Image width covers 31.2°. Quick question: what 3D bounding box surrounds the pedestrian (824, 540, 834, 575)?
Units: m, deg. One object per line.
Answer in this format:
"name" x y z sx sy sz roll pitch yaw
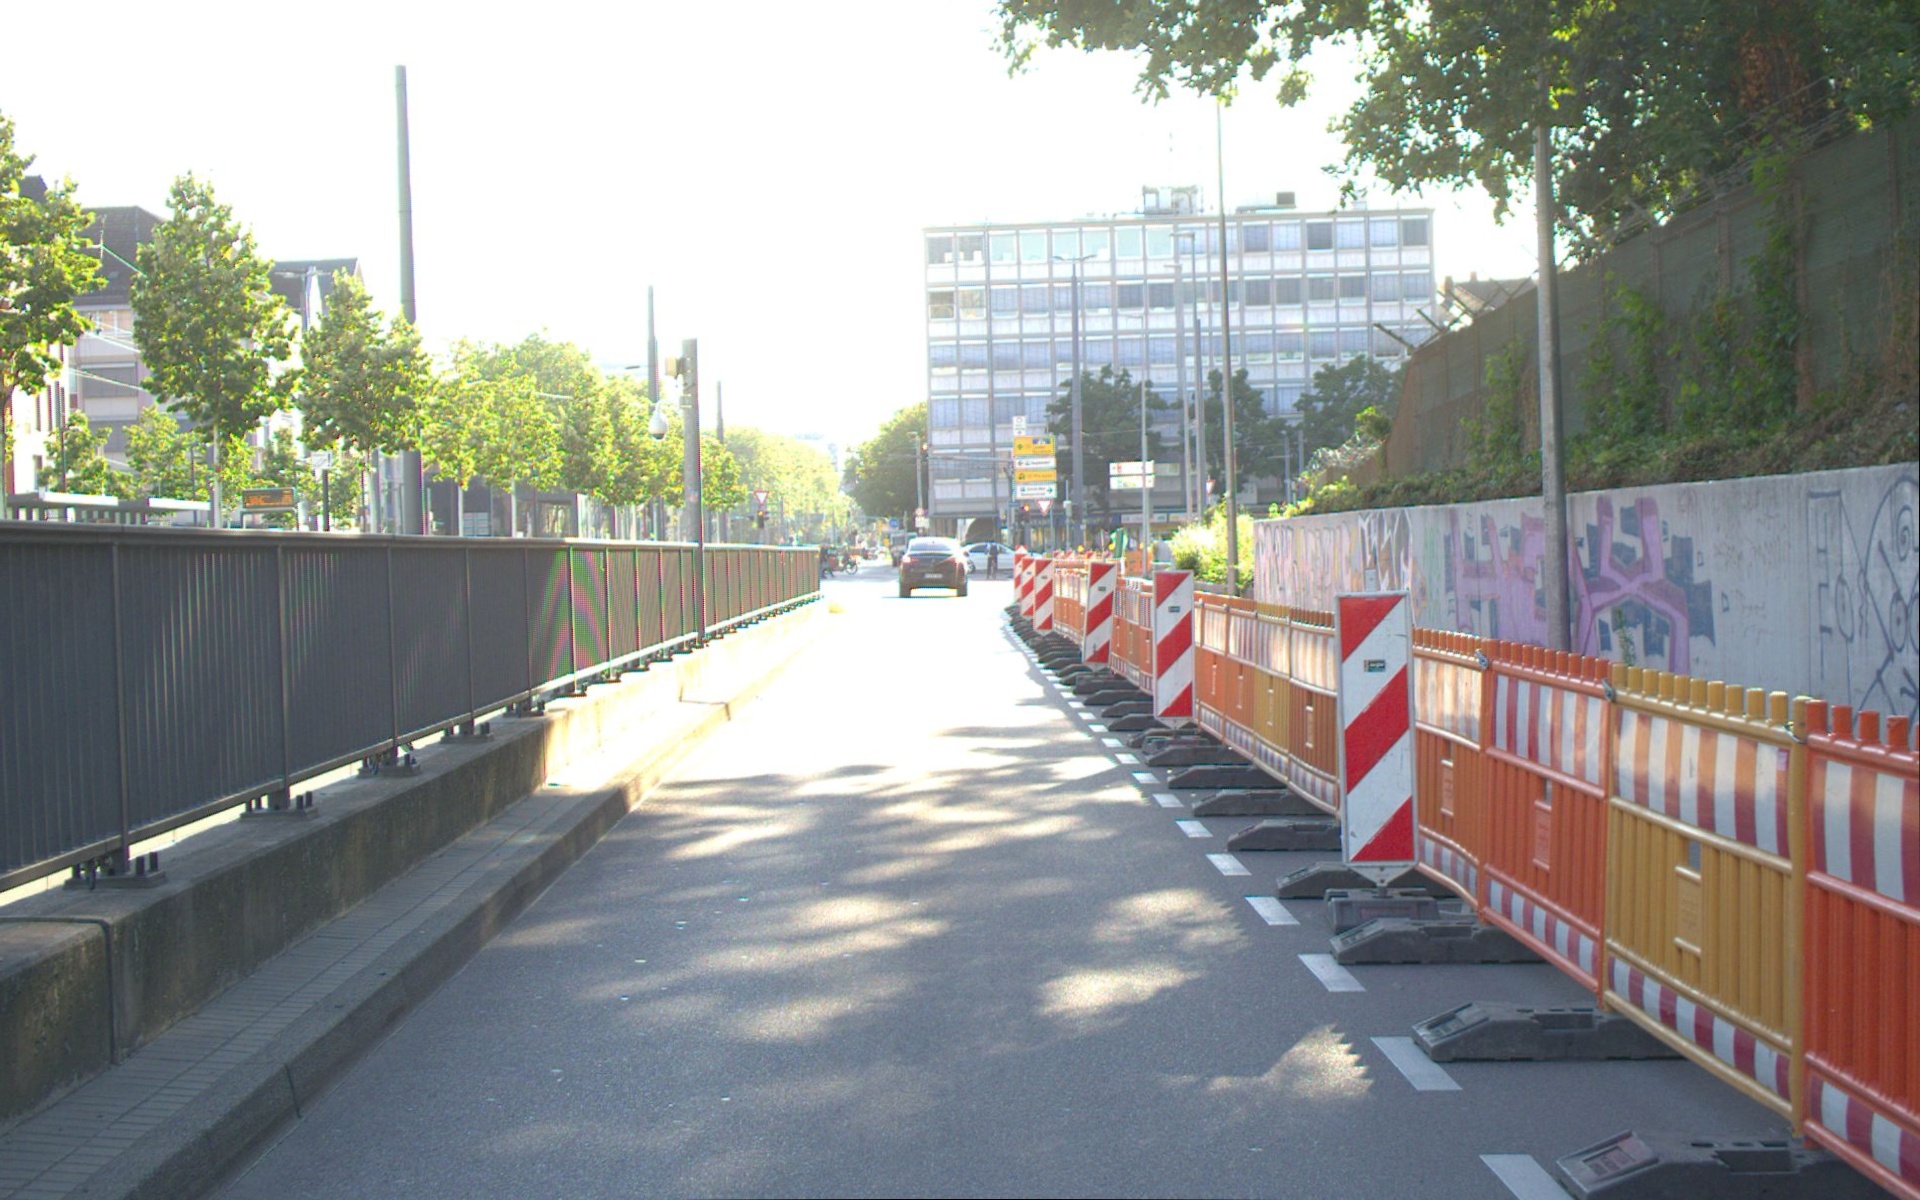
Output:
"pedestrian" -5.890 -1.914 154.925 0.275 1.569 0.440 0 0 -26

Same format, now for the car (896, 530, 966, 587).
"car" -0.844 -1.220 102.137 2.005 1.653 4.000 0 0 0

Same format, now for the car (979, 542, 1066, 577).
"car" 2.964 -1.907 161.473 3.987 1.634 2.000 0 0 4

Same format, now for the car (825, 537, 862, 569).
"car" -6.453 -2.620 190.221 1.993 1.612 4.001 -1 3 -2

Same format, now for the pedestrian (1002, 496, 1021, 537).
"pedestrian" 2.672 -4.350 179.194 0.891 2.105 0.718 -1 2 5
